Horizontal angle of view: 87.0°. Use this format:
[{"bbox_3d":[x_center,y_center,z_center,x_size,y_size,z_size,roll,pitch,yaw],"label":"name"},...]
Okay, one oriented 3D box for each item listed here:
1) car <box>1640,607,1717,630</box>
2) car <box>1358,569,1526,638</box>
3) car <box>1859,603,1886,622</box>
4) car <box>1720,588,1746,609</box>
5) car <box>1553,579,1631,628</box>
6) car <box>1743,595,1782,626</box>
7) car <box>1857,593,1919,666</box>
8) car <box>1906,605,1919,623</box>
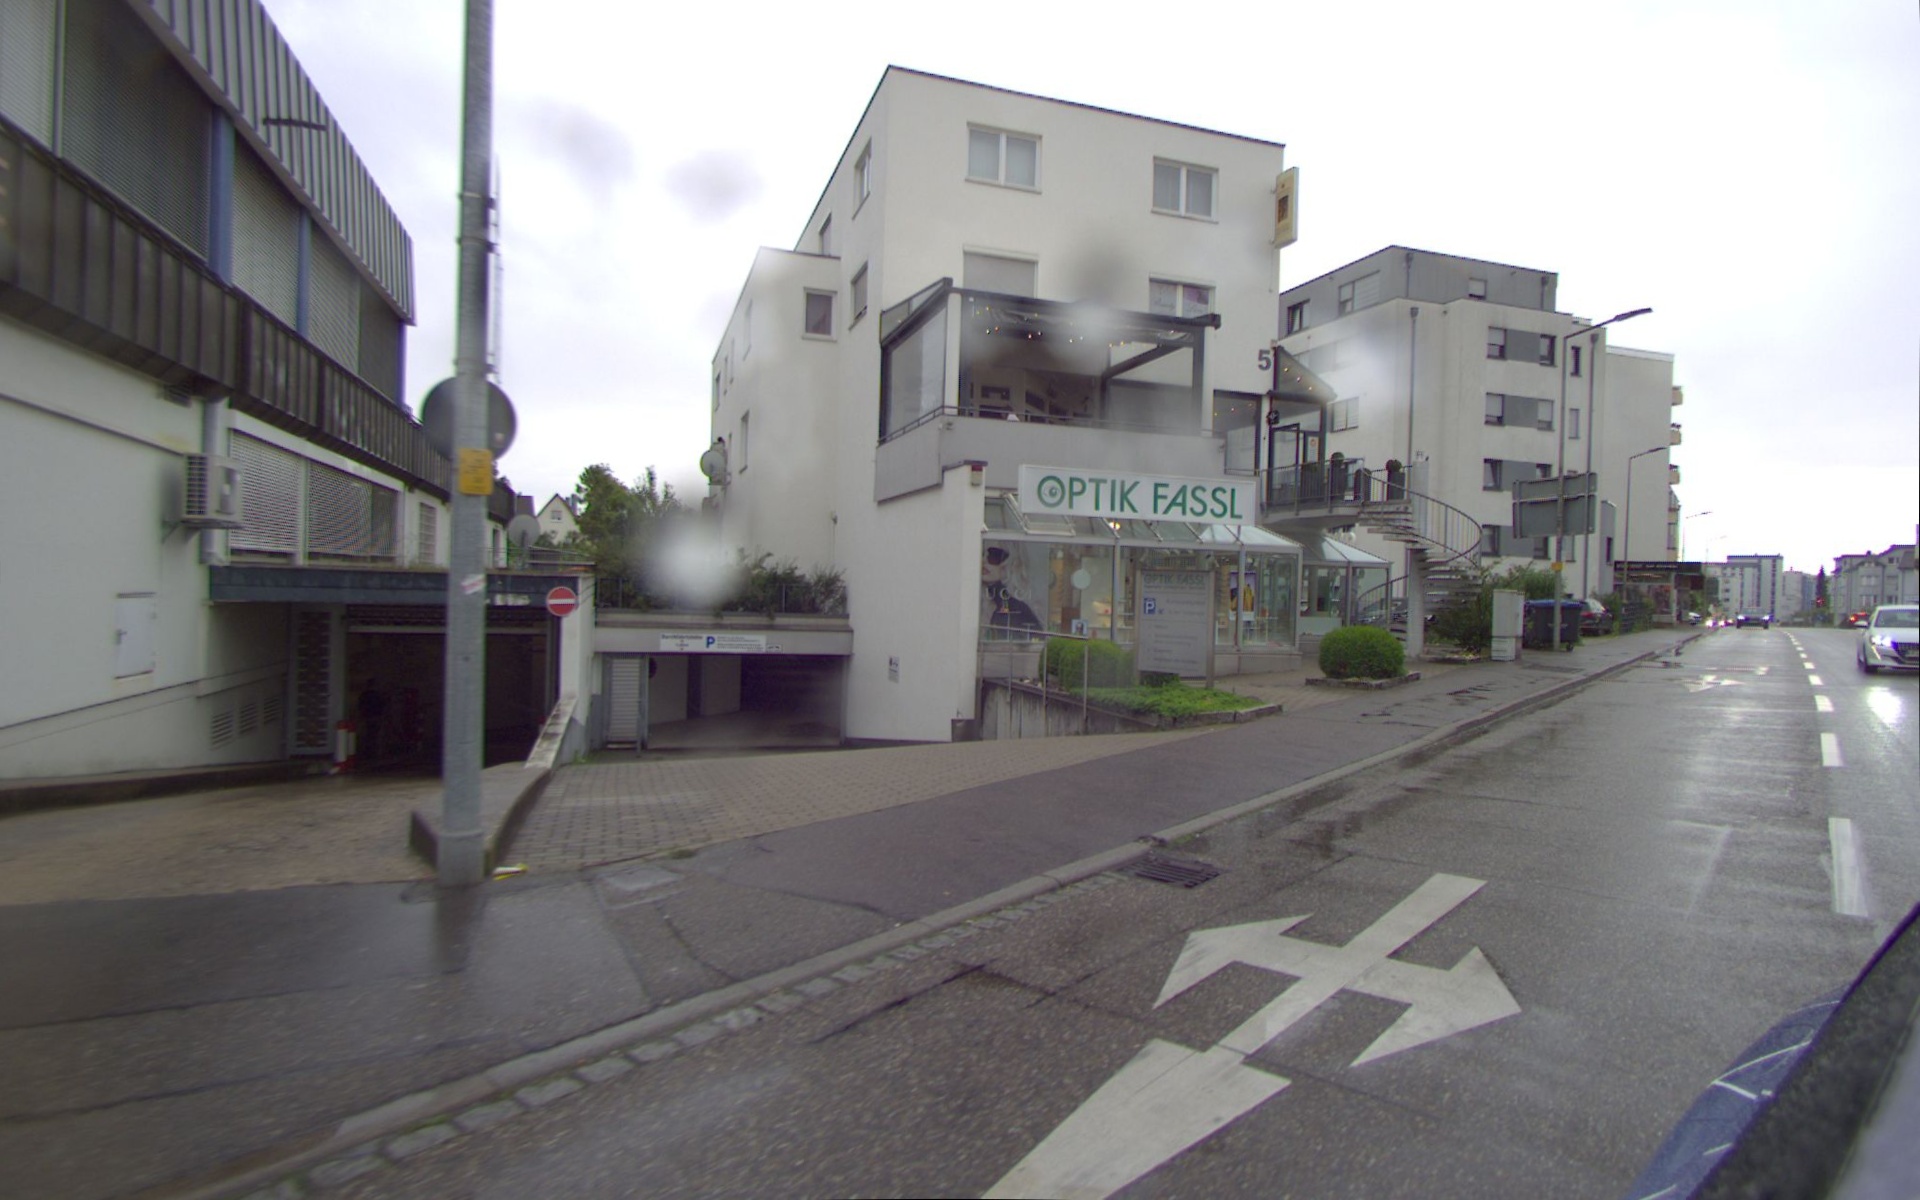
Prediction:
[{"bbox_3d":[52.744,1.358,74.415,1.833,1.513,4.279,3,-1,-22],"label":"car"},{"bbox_3d":[15.475,0.097,32.552,4.678,2.039,2.005,2,1,-17],"label":"car"},{"bbox_3d":[84.903,1.170,94.153,1.802,1.577,4.250,1,-1,43],"label":"car"},{"bbox_3d":[83.085,-0.177,108.793,1.991,2.039,3.941,2,0,40],"label":"car"},{"bbox_3d":[25.266,0.146,40.384,1.991,1.808,4.622,2,1,40],"label":"car"},{"bbox_3d":[55.982,0.765,70.574,1.991,2.039,3.941,2,0,40],"label":"car"},{"bbox_3d":[20.924,0.662,21.946,1.820,1.458,4.286,1,-1,37],"label":"car"},{"bbox_3d":[86.102,1.298,90.458,1.694,1.426,3.946,5,2,37],"label":"car"}]
